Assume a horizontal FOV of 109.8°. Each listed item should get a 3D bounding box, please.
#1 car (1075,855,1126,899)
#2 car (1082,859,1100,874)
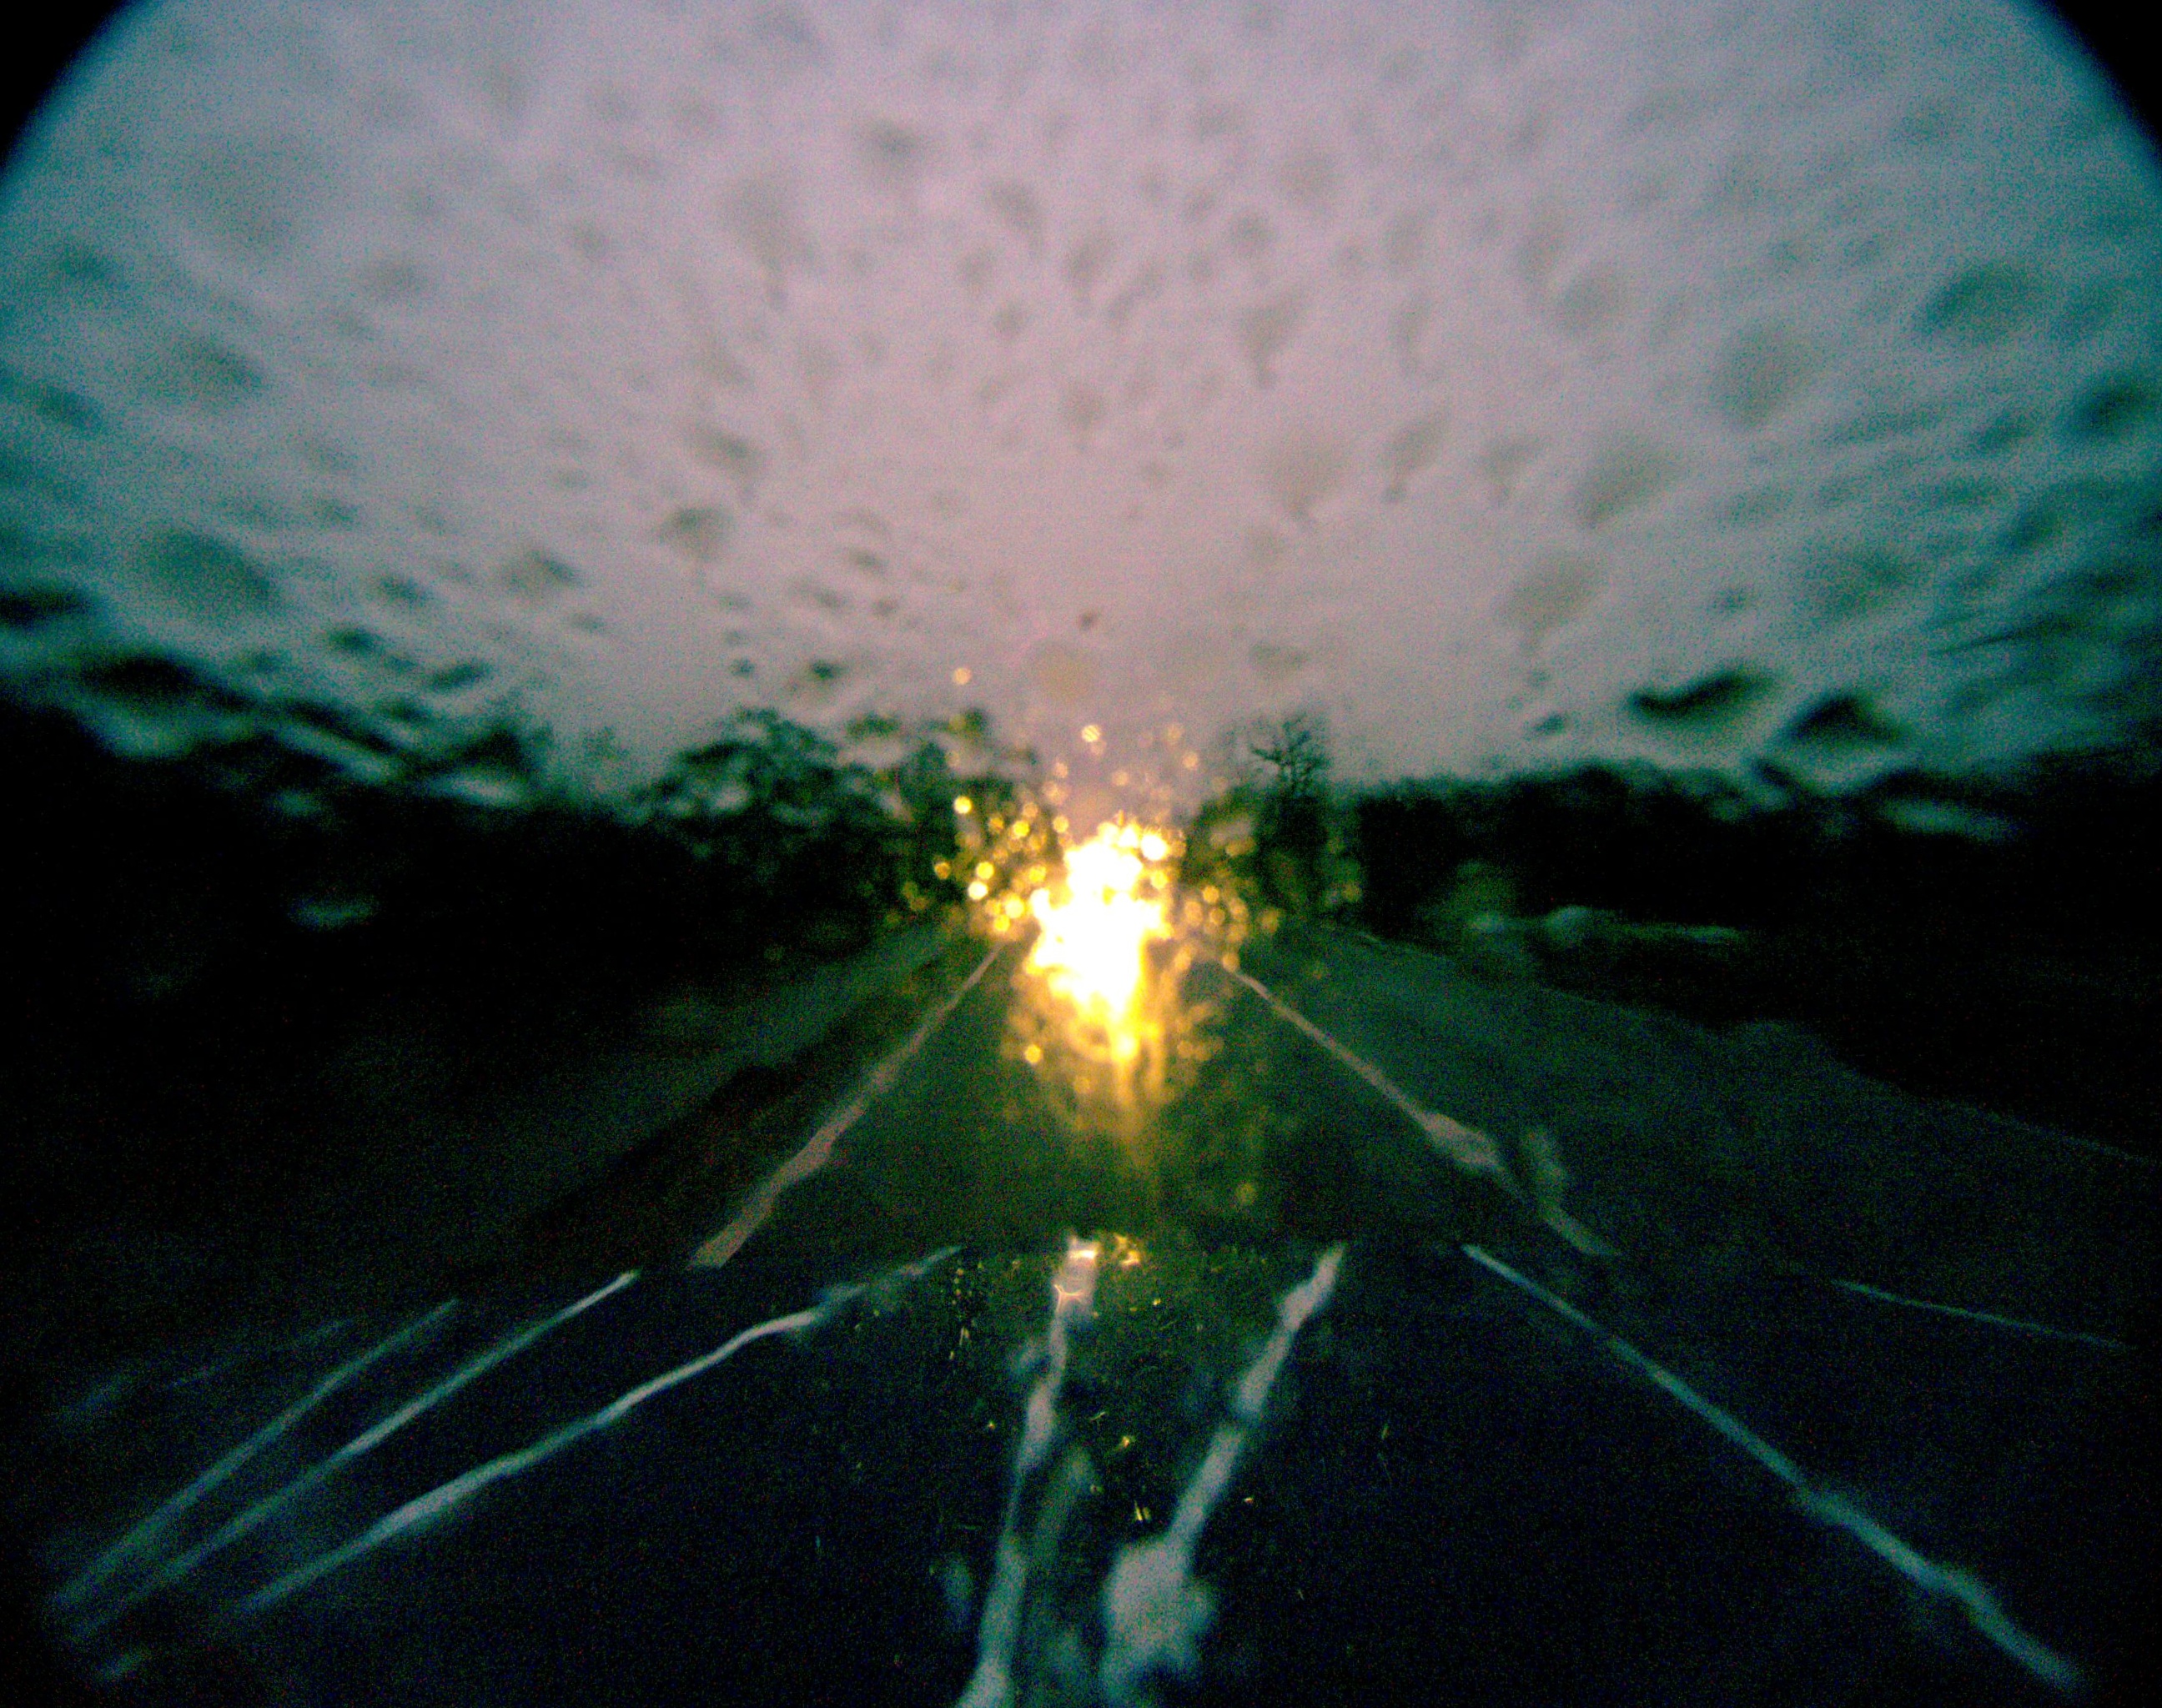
[{"bbox_3d":[0.758,0.863,30.338,1.860,1.604,4.000,-1,0,1],"label":"car"},{"bbox_3d":[1.183,1.466,89.805,1.998,1.612,4.000,-2,1,1],"label":"car"}]
